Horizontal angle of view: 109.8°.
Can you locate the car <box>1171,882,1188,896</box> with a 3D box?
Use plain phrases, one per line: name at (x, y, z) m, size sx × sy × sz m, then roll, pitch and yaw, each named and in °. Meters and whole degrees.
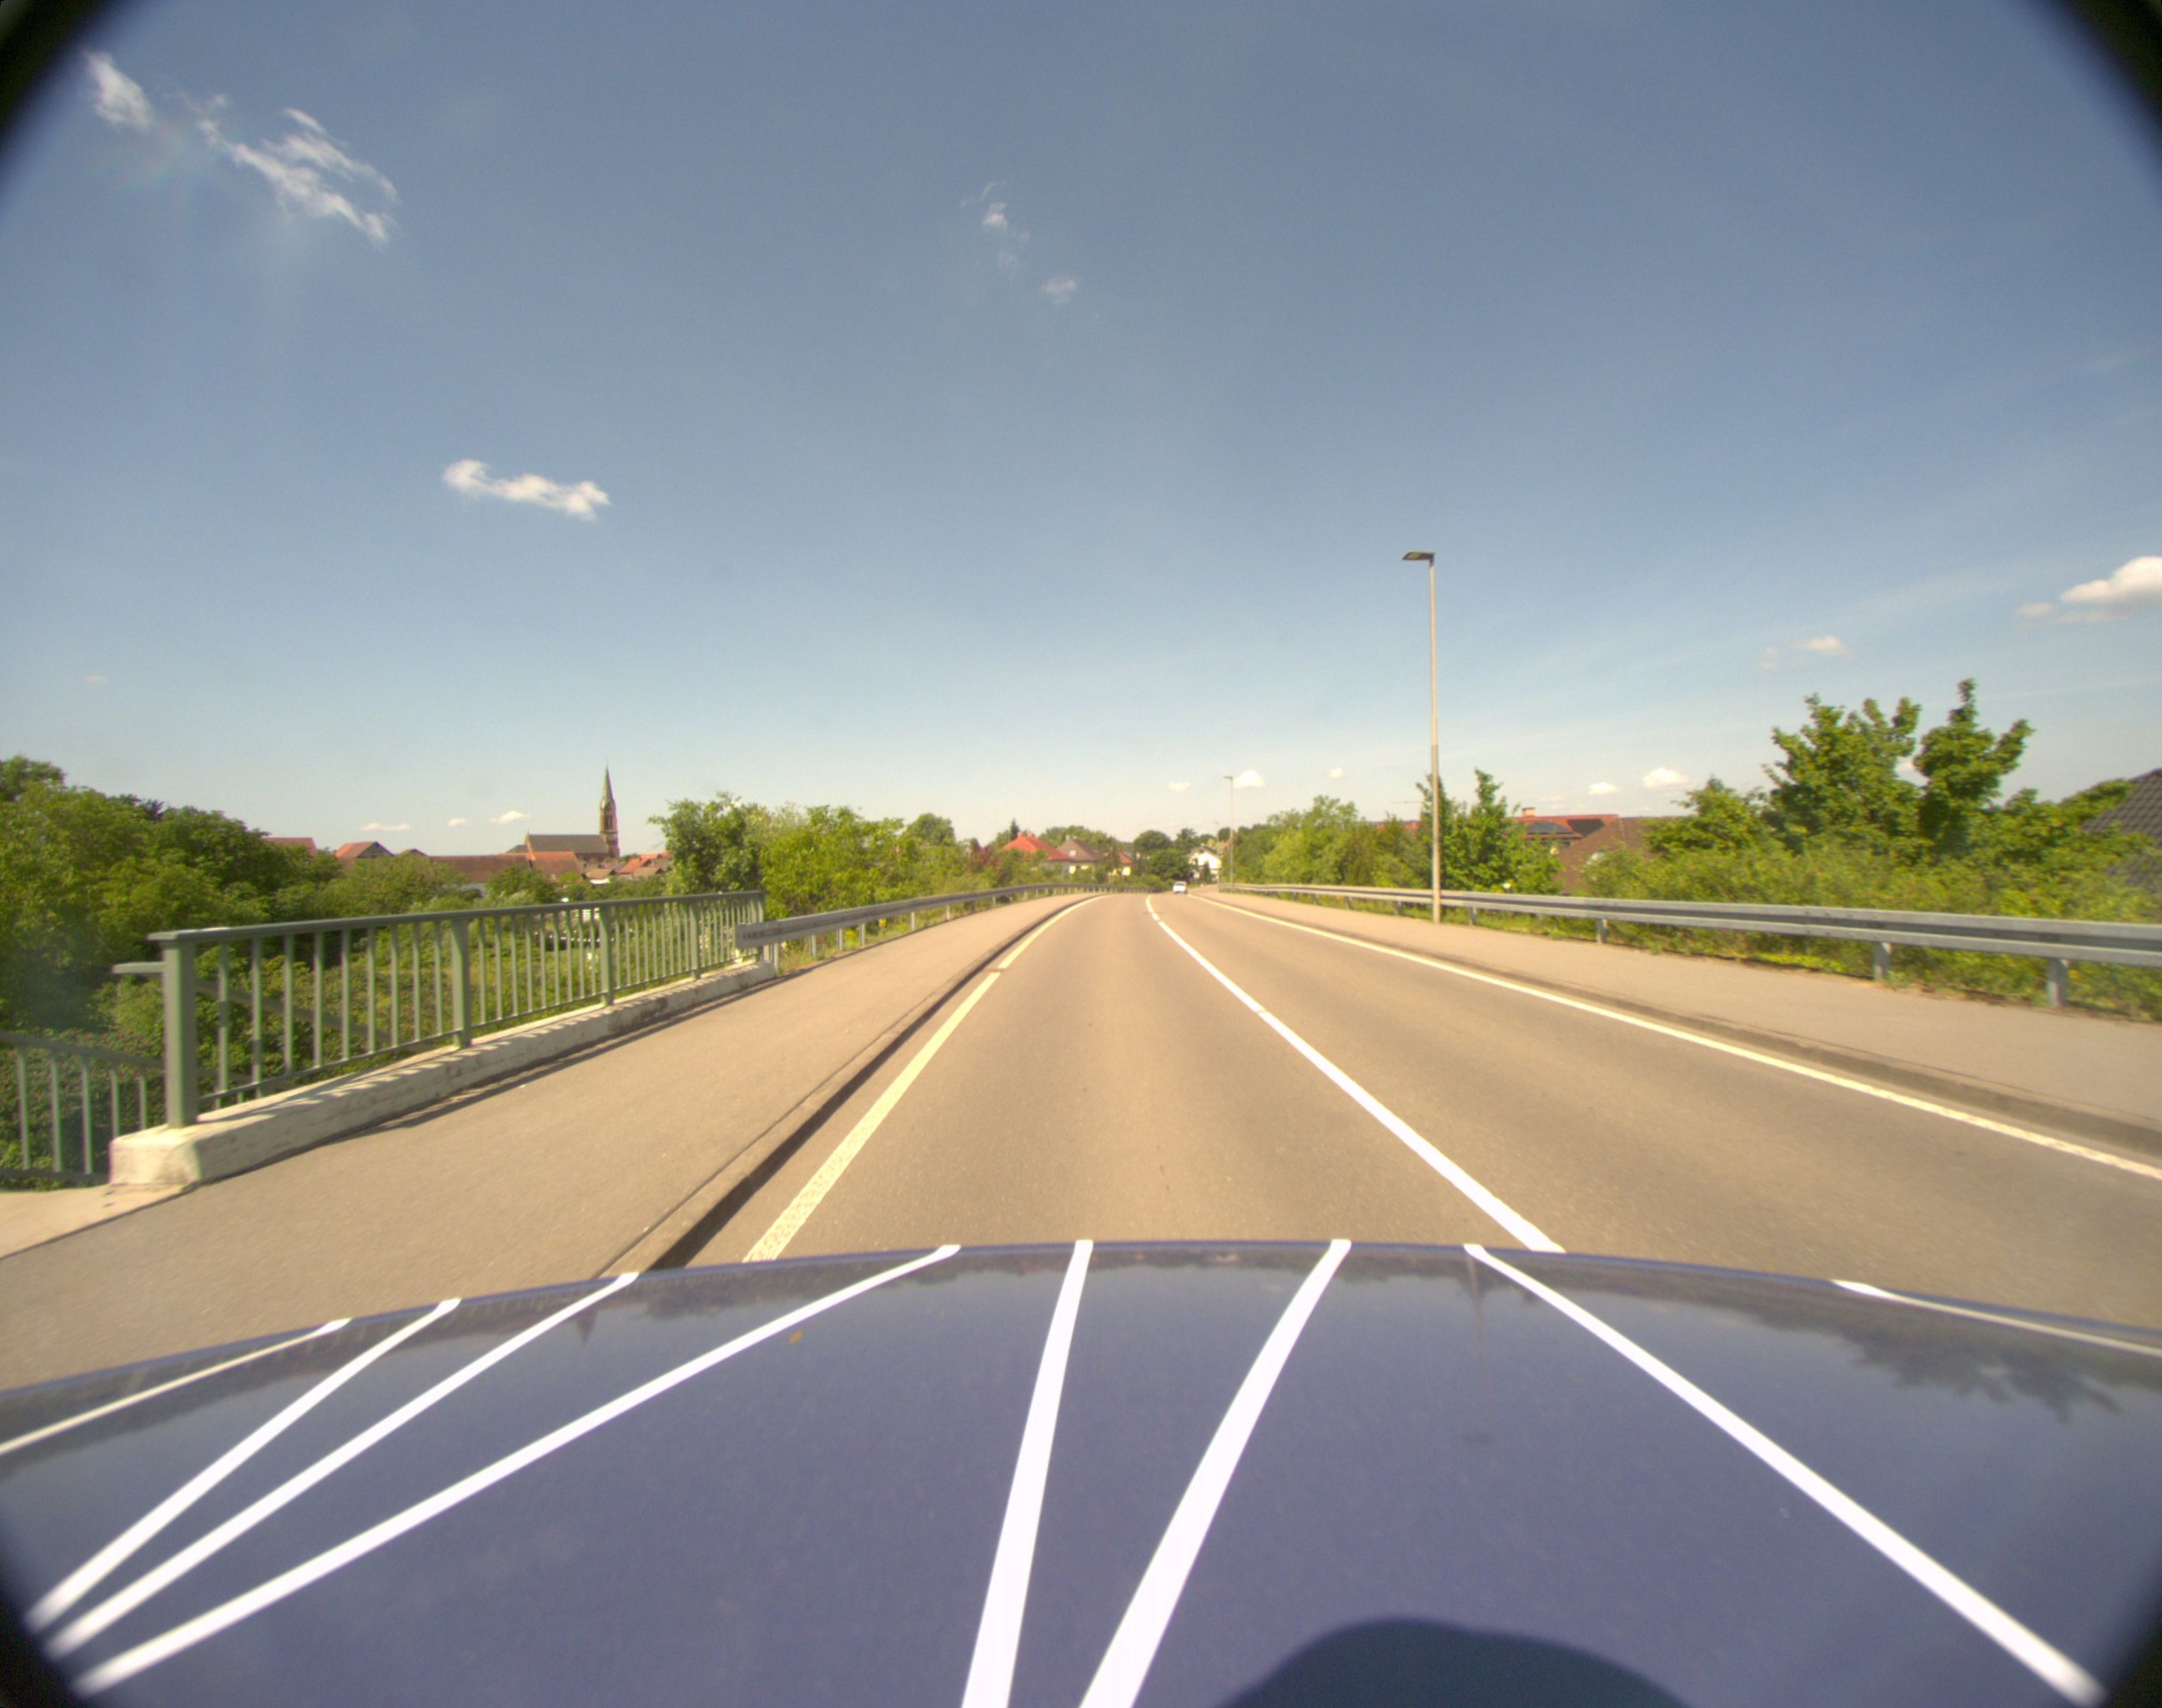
car at (15.154, 5.388, 116.835) m, size 2.092 × 1.751 × 4.282 m, roll -3°, pitch 1°, yaw 2°
